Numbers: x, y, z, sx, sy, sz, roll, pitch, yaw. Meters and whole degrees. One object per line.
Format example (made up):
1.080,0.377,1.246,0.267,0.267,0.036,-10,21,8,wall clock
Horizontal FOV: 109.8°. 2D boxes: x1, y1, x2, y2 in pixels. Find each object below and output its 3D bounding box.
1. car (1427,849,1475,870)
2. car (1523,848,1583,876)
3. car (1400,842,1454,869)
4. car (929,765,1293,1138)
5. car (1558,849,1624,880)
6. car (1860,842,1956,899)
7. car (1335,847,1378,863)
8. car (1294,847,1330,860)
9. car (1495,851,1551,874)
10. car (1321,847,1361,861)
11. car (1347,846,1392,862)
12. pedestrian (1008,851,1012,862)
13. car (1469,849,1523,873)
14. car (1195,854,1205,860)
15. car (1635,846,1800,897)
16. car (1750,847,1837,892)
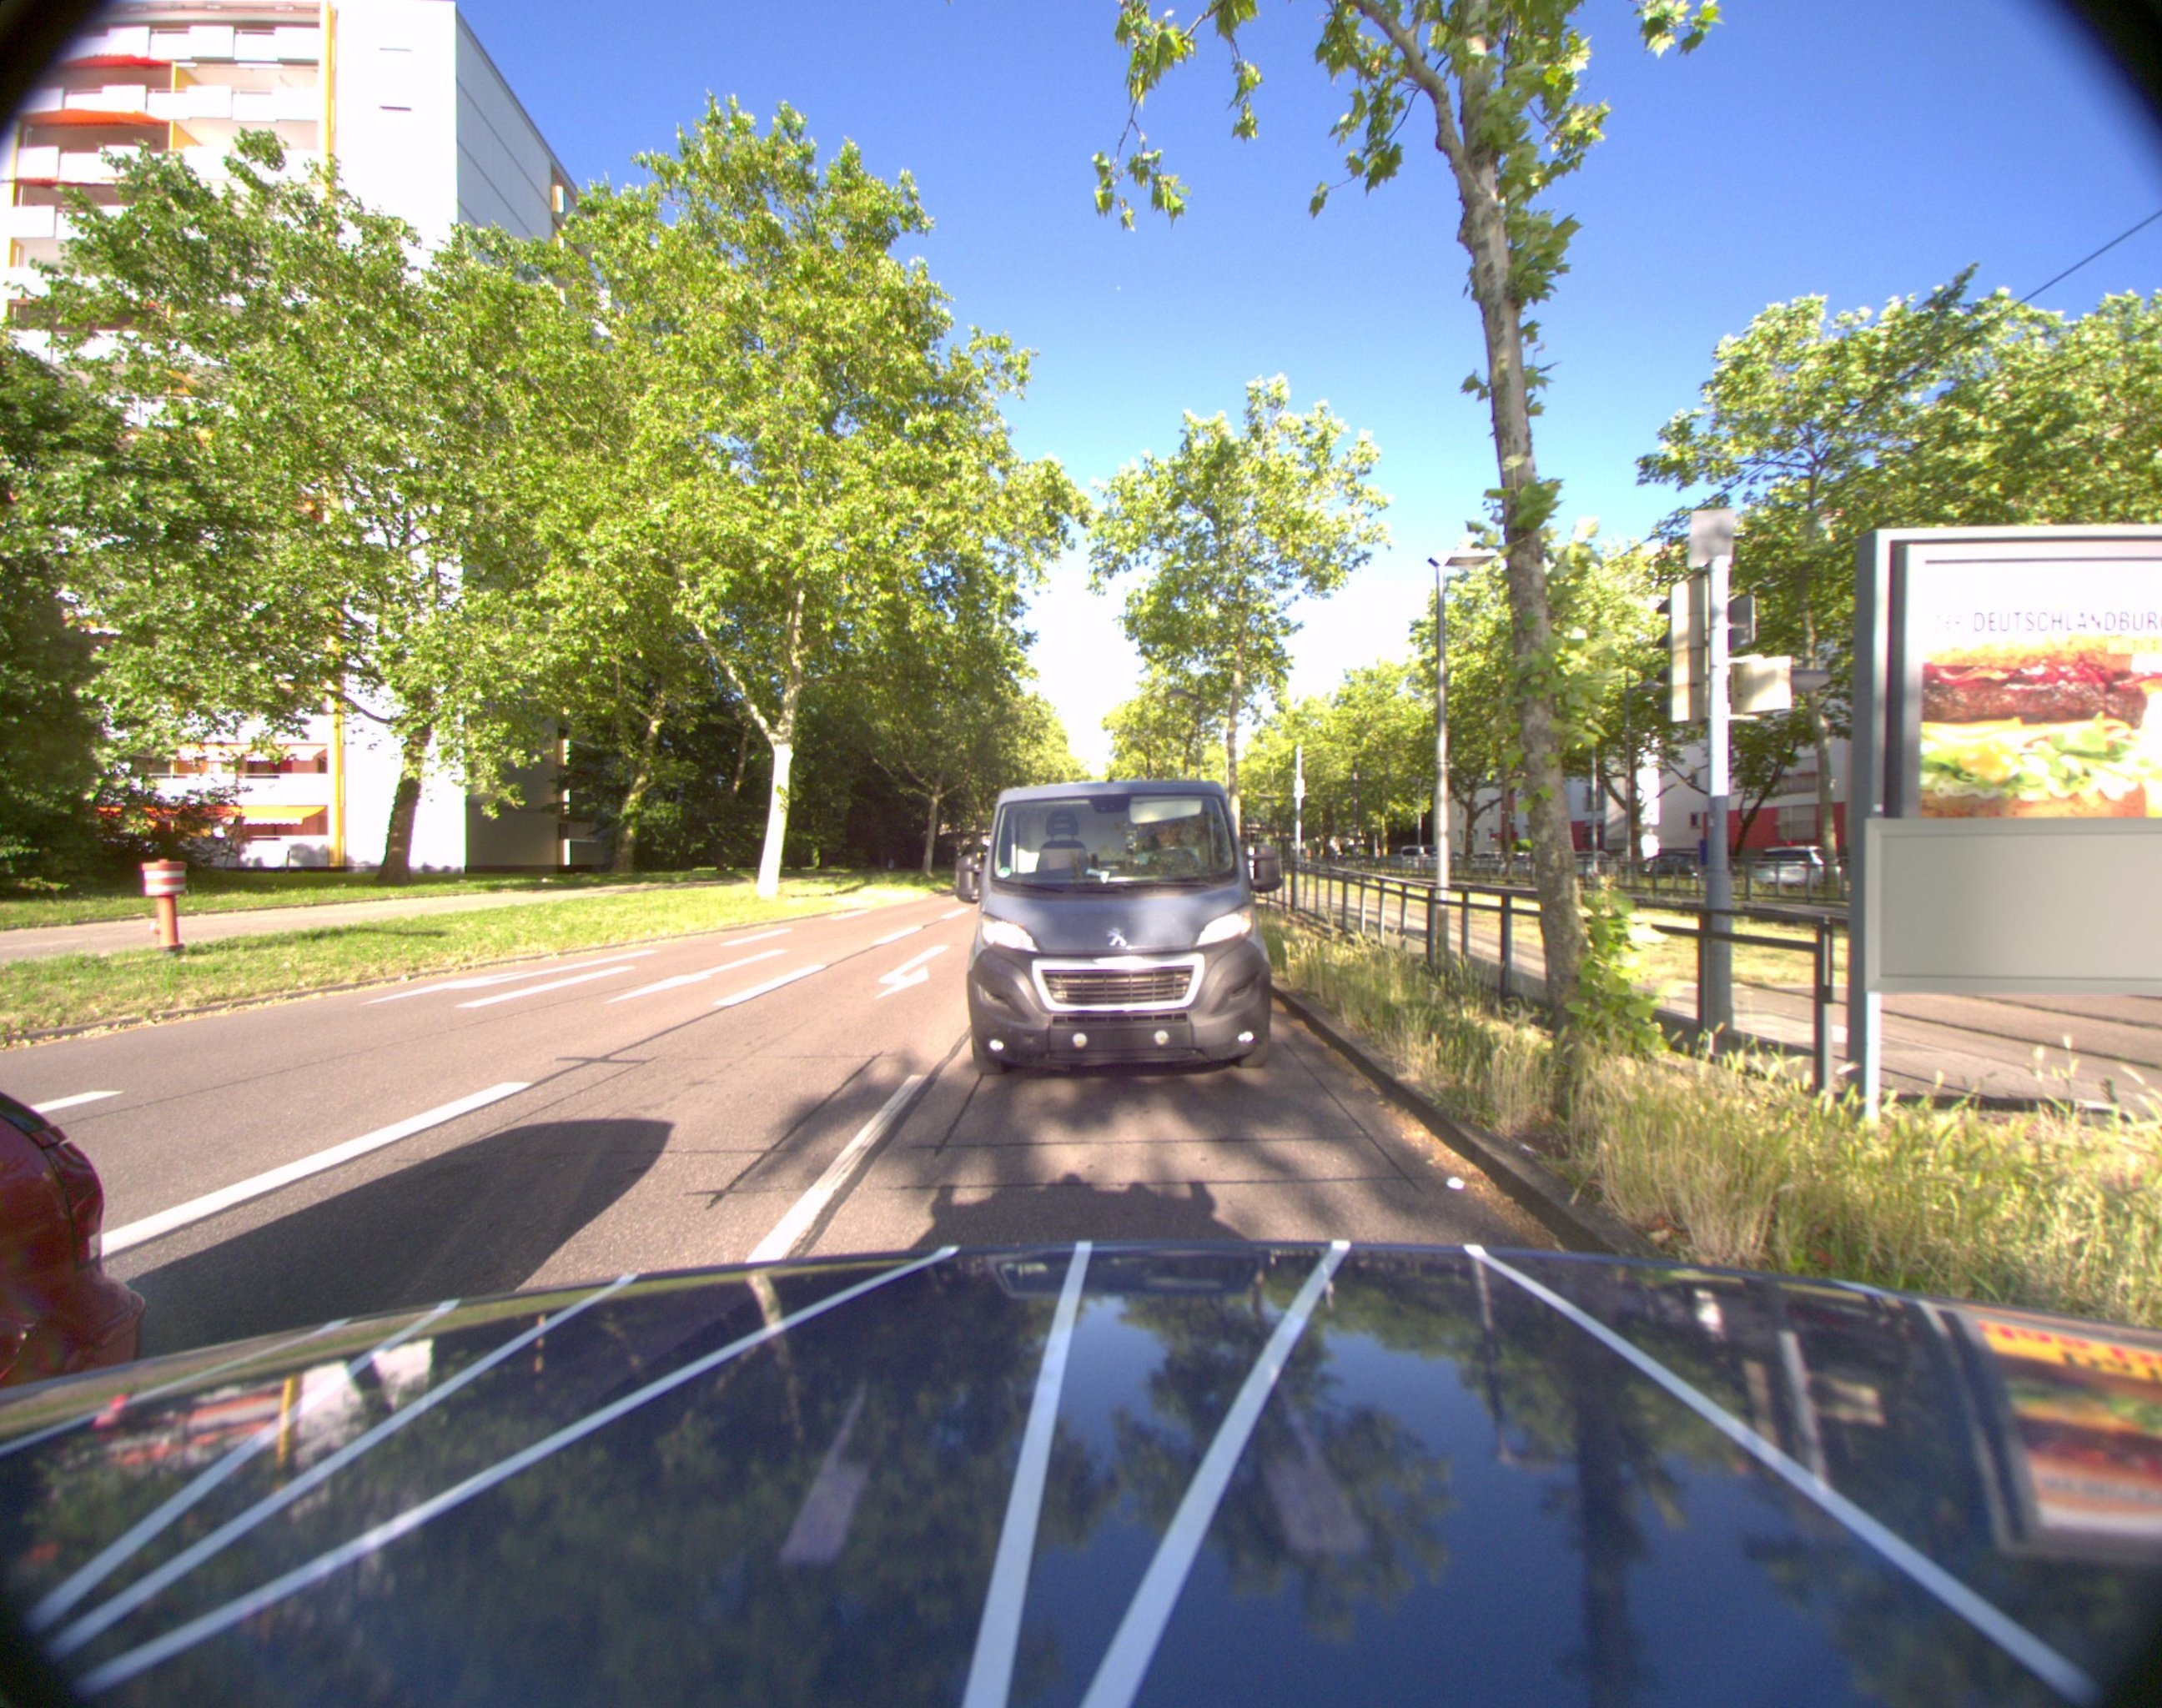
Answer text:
26.241,0.344,53.885,3.689,1.388,1.645,-1,1,-39,car
25.807,0.426,41.505,3.689,1.440,1.645,-1,1,-39,car
25.957,0.081,56.978,4.376,1.873,1.919,-1,1,-39,car
0.209,0.551,6.930,2.040,2.102,5.113,-2,0,1,car
25.326,0.497,37.677,3.689,1.384,1.645,-1,1,-38,car
25.014,0.458,22.947,3.689,1.558,1.683,-1,1,-38,car
26.584,0.096,73.264,4.376,1.367,1.919,-1,1,-39,car
27.197,-0.063,89.415,4.376,1.367,1.919,-1,1,-39,car
26.196,0.478,44.947,3.689,1.234,1.645,-1,1,-39,car
27.239,0.021,79.561,4.376,1.367,1.919,-1,1,-39,car
26.715,-0.011,70.301,4.376,1.367,1.919,-1,1,-39,car
-10.215,0.366,109.714,0.398,1.454,0.417,-1,1,8,pedestrian
25.953,0.411,47.482,3.689,1.440,1.645,-1,1,-39,car
25.518,0.629,163.026,1.672,1.351,3.295,-1,0,1,car
19.145,0.483,23.095,1.826,1.412,3.757,-1,0,-2,car
25.052,0.491,26.672,3.689,1.425,1.683,-1,1,-38,car
